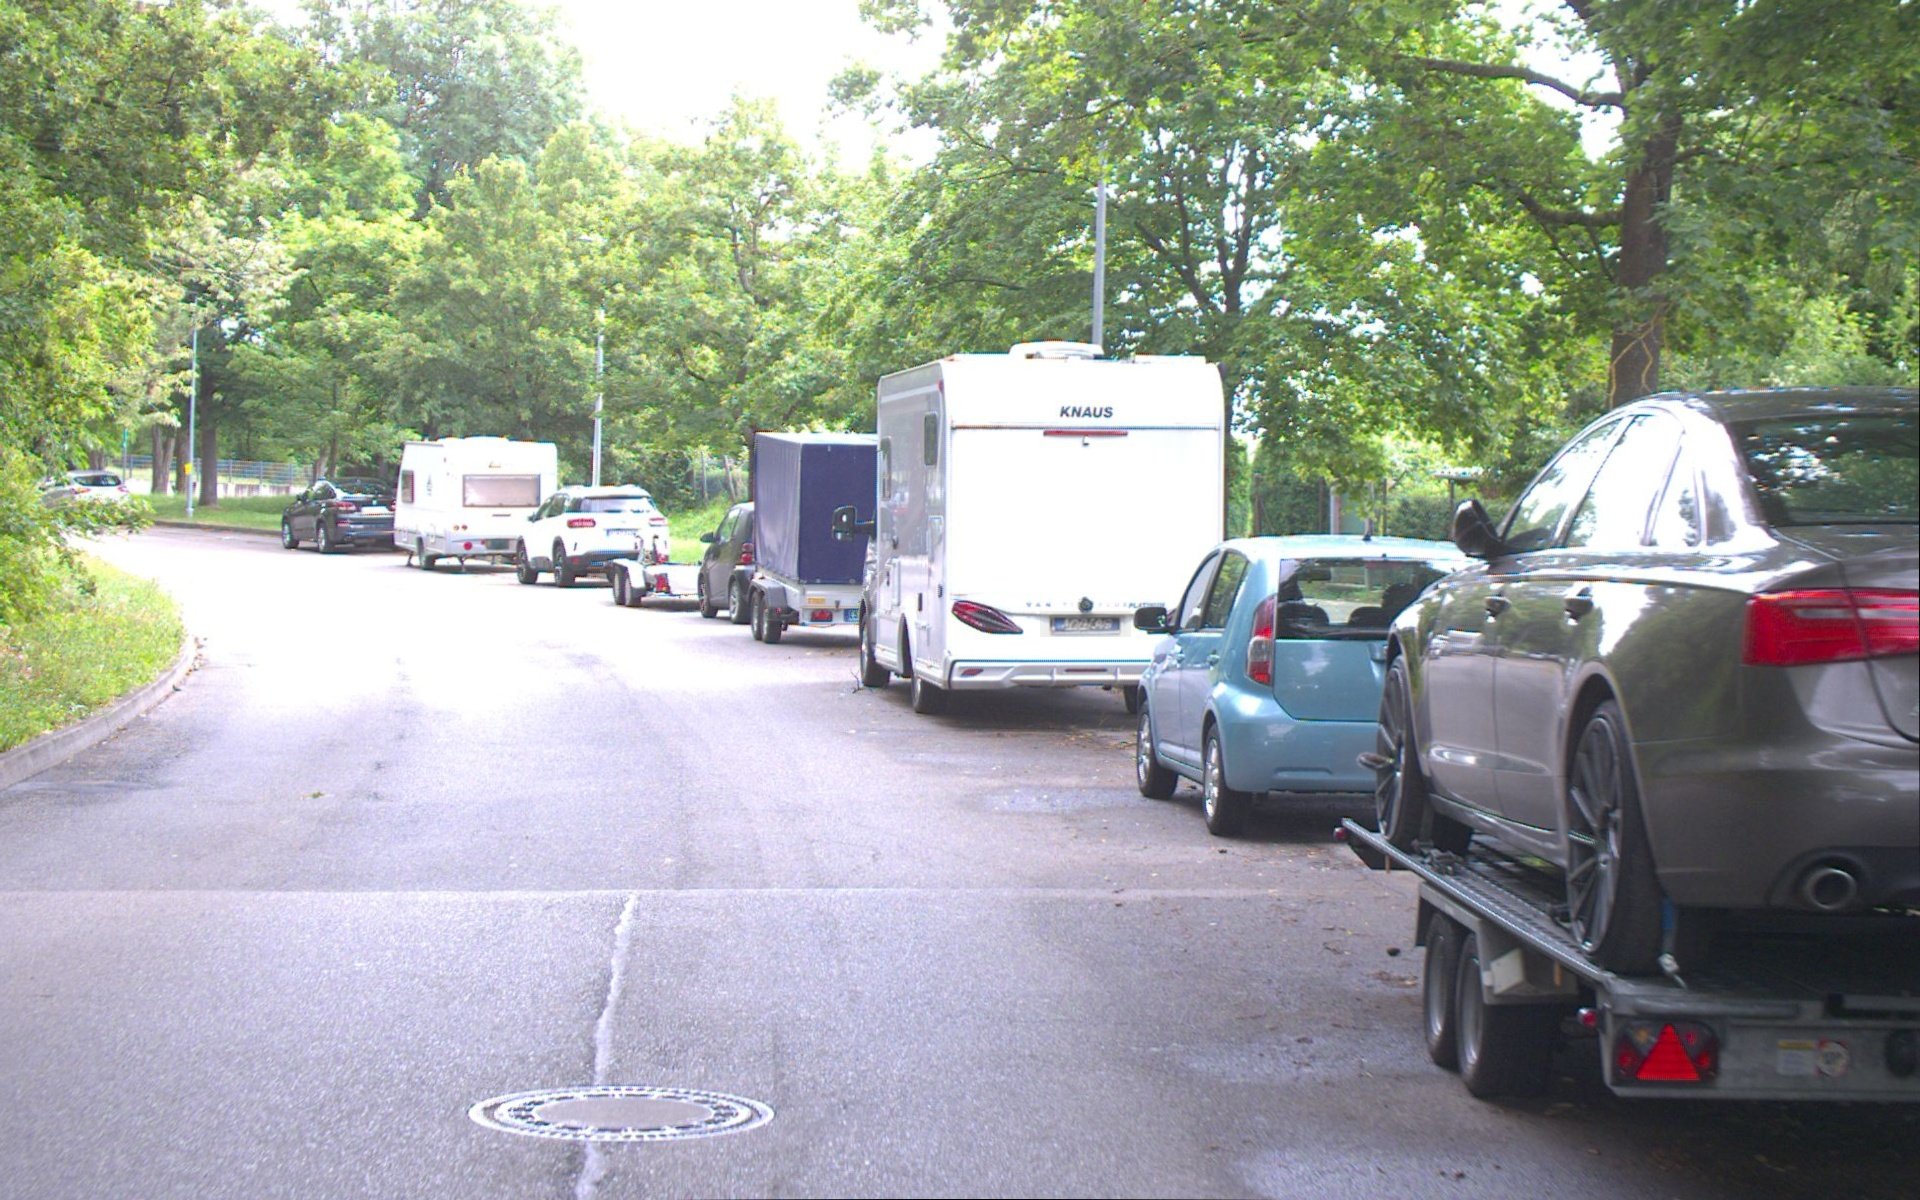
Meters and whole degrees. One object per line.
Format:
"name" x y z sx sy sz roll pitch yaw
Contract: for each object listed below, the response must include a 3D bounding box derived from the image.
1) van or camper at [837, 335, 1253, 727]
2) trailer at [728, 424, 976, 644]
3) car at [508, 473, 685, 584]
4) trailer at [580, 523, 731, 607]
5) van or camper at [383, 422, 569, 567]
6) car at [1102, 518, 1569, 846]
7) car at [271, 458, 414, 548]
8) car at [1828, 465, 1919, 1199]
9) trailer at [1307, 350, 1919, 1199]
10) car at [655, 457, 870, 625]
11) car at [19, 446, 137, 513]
"van or camper" 0.518 -0.577 29.084 2.481 2.866 6.891 1 1 -7
"trailer" -1.315 -0.773 39.958 1.993 2.390 4.001 1 1 -15
"car" -6.191 -1.234 58.147 2.034 1.797 4.084 0 2 -20
"trailer" -4.380 -0.527 49.008 1.651 1.083 4.002 -1 2 -12
"van or camper" -9.395 -2.043 66.391 2.526 2.688 4.577 -1 2 -22
"car" 1.919 0.361 18.709 1.799 1.556 3.836 1 2 -5
"car" -13.614 -2.156 75.658 1.993 1.863 4.001 -2 3 -28
"car" 2.406 0.643 3.184 1.792 1.664 4.502 1 0 -4
"trailer" 2.302 0.349 9.335 1.979 1.805 5.149 1 2 -2
"car" -2.645 -0.827 45.186 1.993 2.019 4.002 -2 3 -15
"car" -24.177 -3.284 94.136 1.993 1.748 4.000 0 1 -32
